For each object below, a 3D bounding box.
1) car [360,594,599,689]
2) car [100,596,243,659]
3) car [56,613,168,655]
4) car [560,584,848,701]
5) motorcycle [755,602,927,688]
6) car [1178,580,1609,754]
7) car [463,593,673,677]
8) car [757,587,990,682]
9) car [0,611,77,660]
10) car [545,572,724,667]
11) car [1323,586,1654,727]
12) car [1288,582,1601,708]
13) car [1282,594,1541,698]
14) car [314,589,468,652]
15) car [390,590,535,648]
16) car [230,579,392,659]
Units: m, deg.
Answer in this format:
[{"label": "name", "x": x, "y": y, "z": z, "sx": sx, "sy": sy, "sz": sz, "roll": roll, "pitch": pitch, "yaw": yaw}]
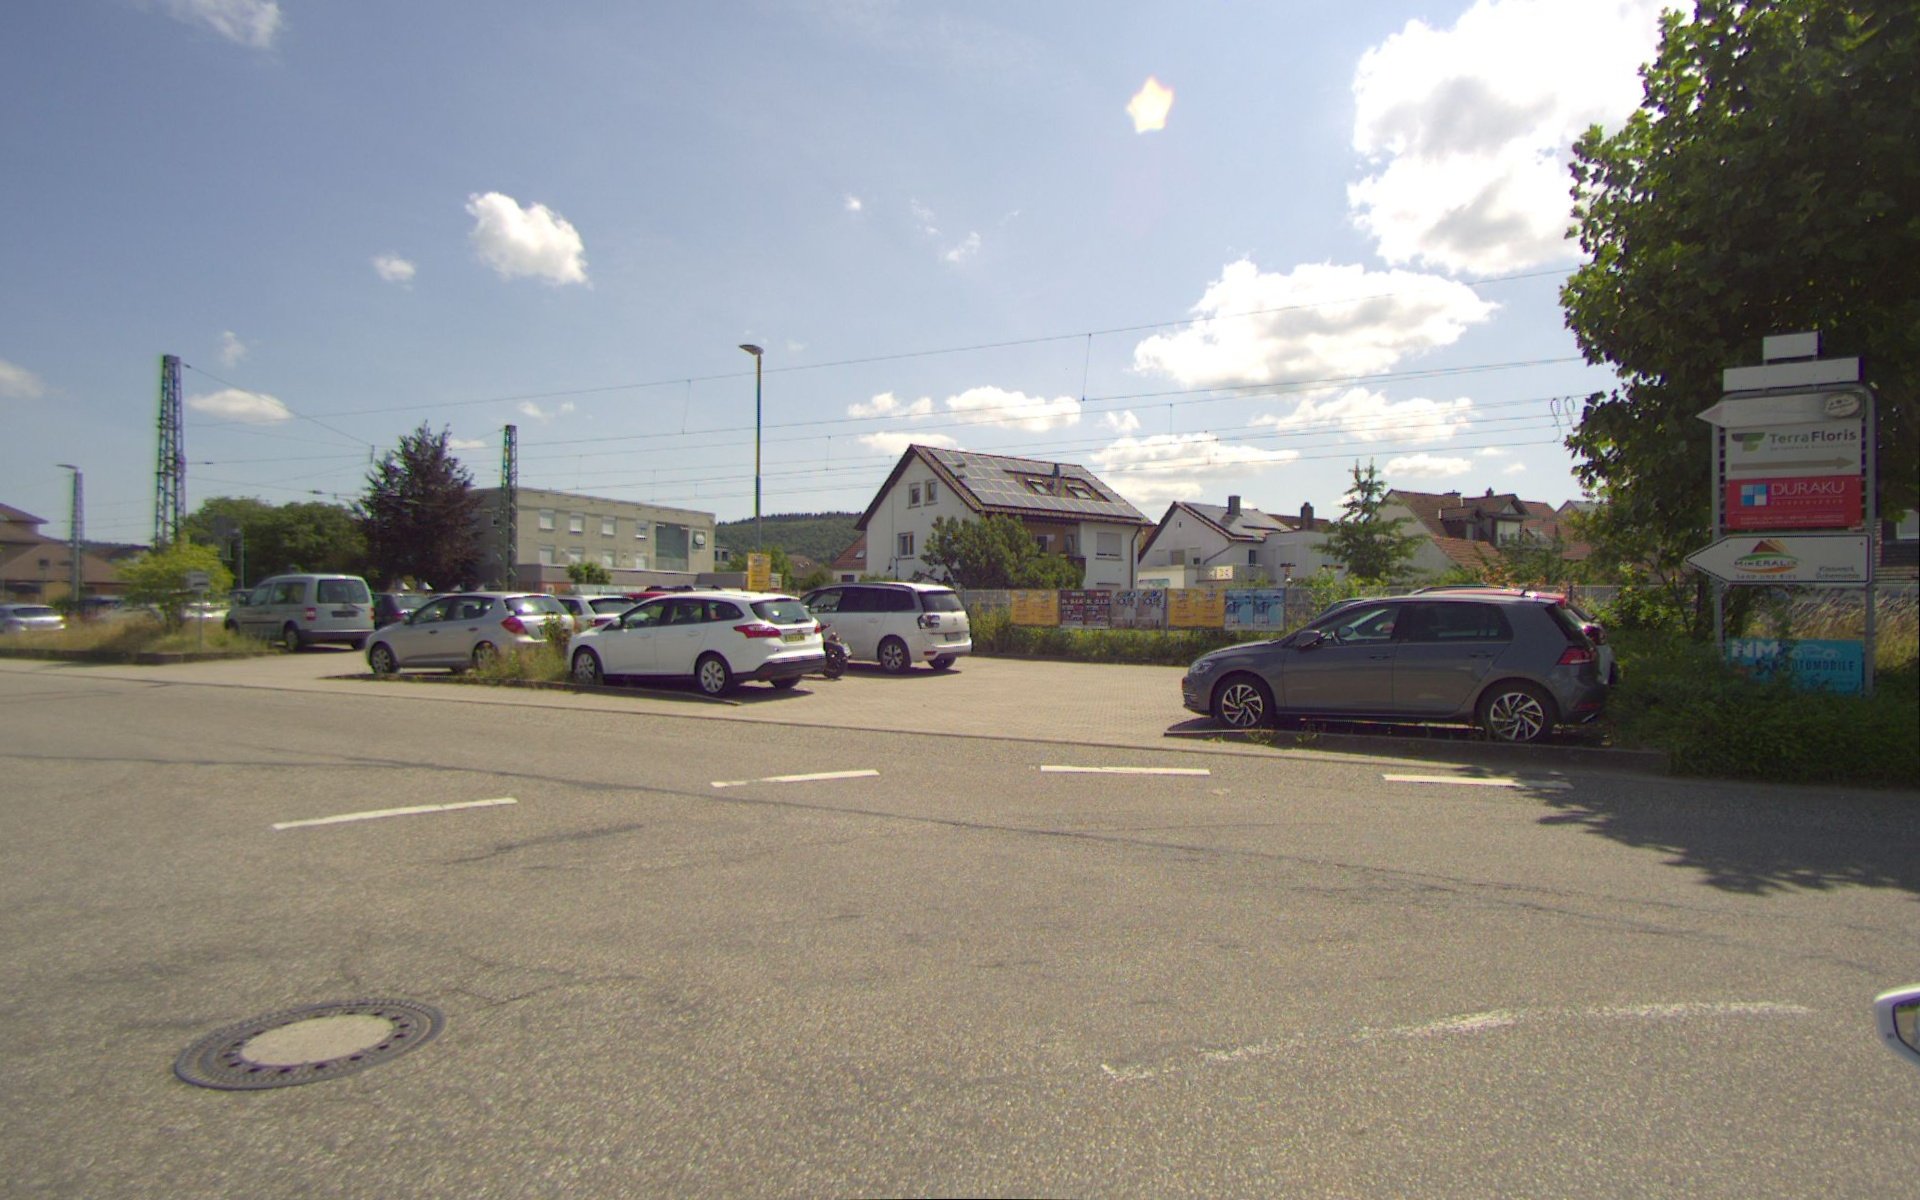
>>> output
[{"label": "car", "x": -8.677, "y": 0.700, "z": 18.145, "sx": 3.884, "sy": 1.565, "sz": 1.795, "roll": 0, "pitch": 0, "yaw": 24}, {"label": "car", "x": -22.518, "y": 0.764, "z": 28.673, "sx": 3.926, "sy": 1.708, "sz": 1.731, "roll": 0, "pitch": -1, "yaw": 27}, {"label": "car", "x": -29.765, "y": 1.157, "z": 35.231, "sx": 3.926, "sy": 1.366, "sz": 1.621, "roll": 0, "pitch": -1, "yaw": 27}, {"label": "car", "x": -3.968, "y": 0.594, "z": 15.440, "sx": 4.185, "sy": 1.585, "sz": 1.807, "roll": 0, "pitch": -1, "yaw": 28}, {"label": "motorcycle", "x": -2.113, "y": 0.747, "z": 17.476, "sx": 3.156, "sy": 1.391, "sz": 0.738, "roll": 0, "pitch": -1, "yaw": 30}, {"label": "car", "x": 4.533, "y": 0.611, "z": 10.725, "sx": 3.992, "sy": 1.551, "sz": 1.686, "roll": 0, "pitch": -1, "yaw": 32}, {"label": "car", "x": -8.107, "y": 0.674, "z": 20.711, "sx": 4.186, "sy": 1.585, "sz": 1.803, "roll": 0, "pitch": -1, "yaw": 30}, {"label": "car", "x": -1.723, "y": 0.606, "z": 19.604, "sx": 4.188, "sy": 1.680, "sz": 1.995, "roll": 0, "pitch": 0, "yaw": 32}, {"label": "car", "x": -31.274, "y": 1.151, "z": 33.363, "sx": 3.926, "sy": 1.542, "sz": 1.607, "roll": 0, "pitch": -1, "yaw": 27}, {"label": "car", "x": -7.610, "y": 0.447, "z": 23.393, "sx": 3.930, "sy": 2.040, "sz": 1.848, "roll": 0, "pitch": -1, "yaw": 31}, {"label": "car", "x": 6.645, "y": 0.645, "z": 12.792, "sx": 3.516, "sy": 1.557, "sz": 1.792, "roll": 0, "pitch": -1, "yaw": 32}, {"label": "car", "x": 7.228, "y": 0.608, "z": 15.100, "sx": 4.016, "sy": 1.659, "sz": 1.995, "roll": 0, "pitch": -1, "yaw": 32}, {"label": "car", "x": 8.036, "y": 0.751, "z": 17.939, "sx": 4.015, "sy": 1.659, "sz": 1.996, "roll": 0, "pitch": -1, "yaw": 32}, {"label": "car", "x": -15.987, "y": 0.557, "z": 28.192, "sx": 4.197, "sy": 1.630, "sz": 1.950, "roll": 0, "pitch": -1, "yaw": 31}, {"label": "car", "x": -14.958, "y": 0.566, "z": 30.178, "sx": 4.197, "sy": 1.630, "sz": 1.950, "roll": 0, "pitch": -1, "yaw": 31}, {"label": "car", "x": -16.296, "y": 0.459, "z": 25.197, "sx": 3.768, "sy": 1.857, "sz": 1.950, "roll": 0, "pitch": -1, "yaw": 31}]
